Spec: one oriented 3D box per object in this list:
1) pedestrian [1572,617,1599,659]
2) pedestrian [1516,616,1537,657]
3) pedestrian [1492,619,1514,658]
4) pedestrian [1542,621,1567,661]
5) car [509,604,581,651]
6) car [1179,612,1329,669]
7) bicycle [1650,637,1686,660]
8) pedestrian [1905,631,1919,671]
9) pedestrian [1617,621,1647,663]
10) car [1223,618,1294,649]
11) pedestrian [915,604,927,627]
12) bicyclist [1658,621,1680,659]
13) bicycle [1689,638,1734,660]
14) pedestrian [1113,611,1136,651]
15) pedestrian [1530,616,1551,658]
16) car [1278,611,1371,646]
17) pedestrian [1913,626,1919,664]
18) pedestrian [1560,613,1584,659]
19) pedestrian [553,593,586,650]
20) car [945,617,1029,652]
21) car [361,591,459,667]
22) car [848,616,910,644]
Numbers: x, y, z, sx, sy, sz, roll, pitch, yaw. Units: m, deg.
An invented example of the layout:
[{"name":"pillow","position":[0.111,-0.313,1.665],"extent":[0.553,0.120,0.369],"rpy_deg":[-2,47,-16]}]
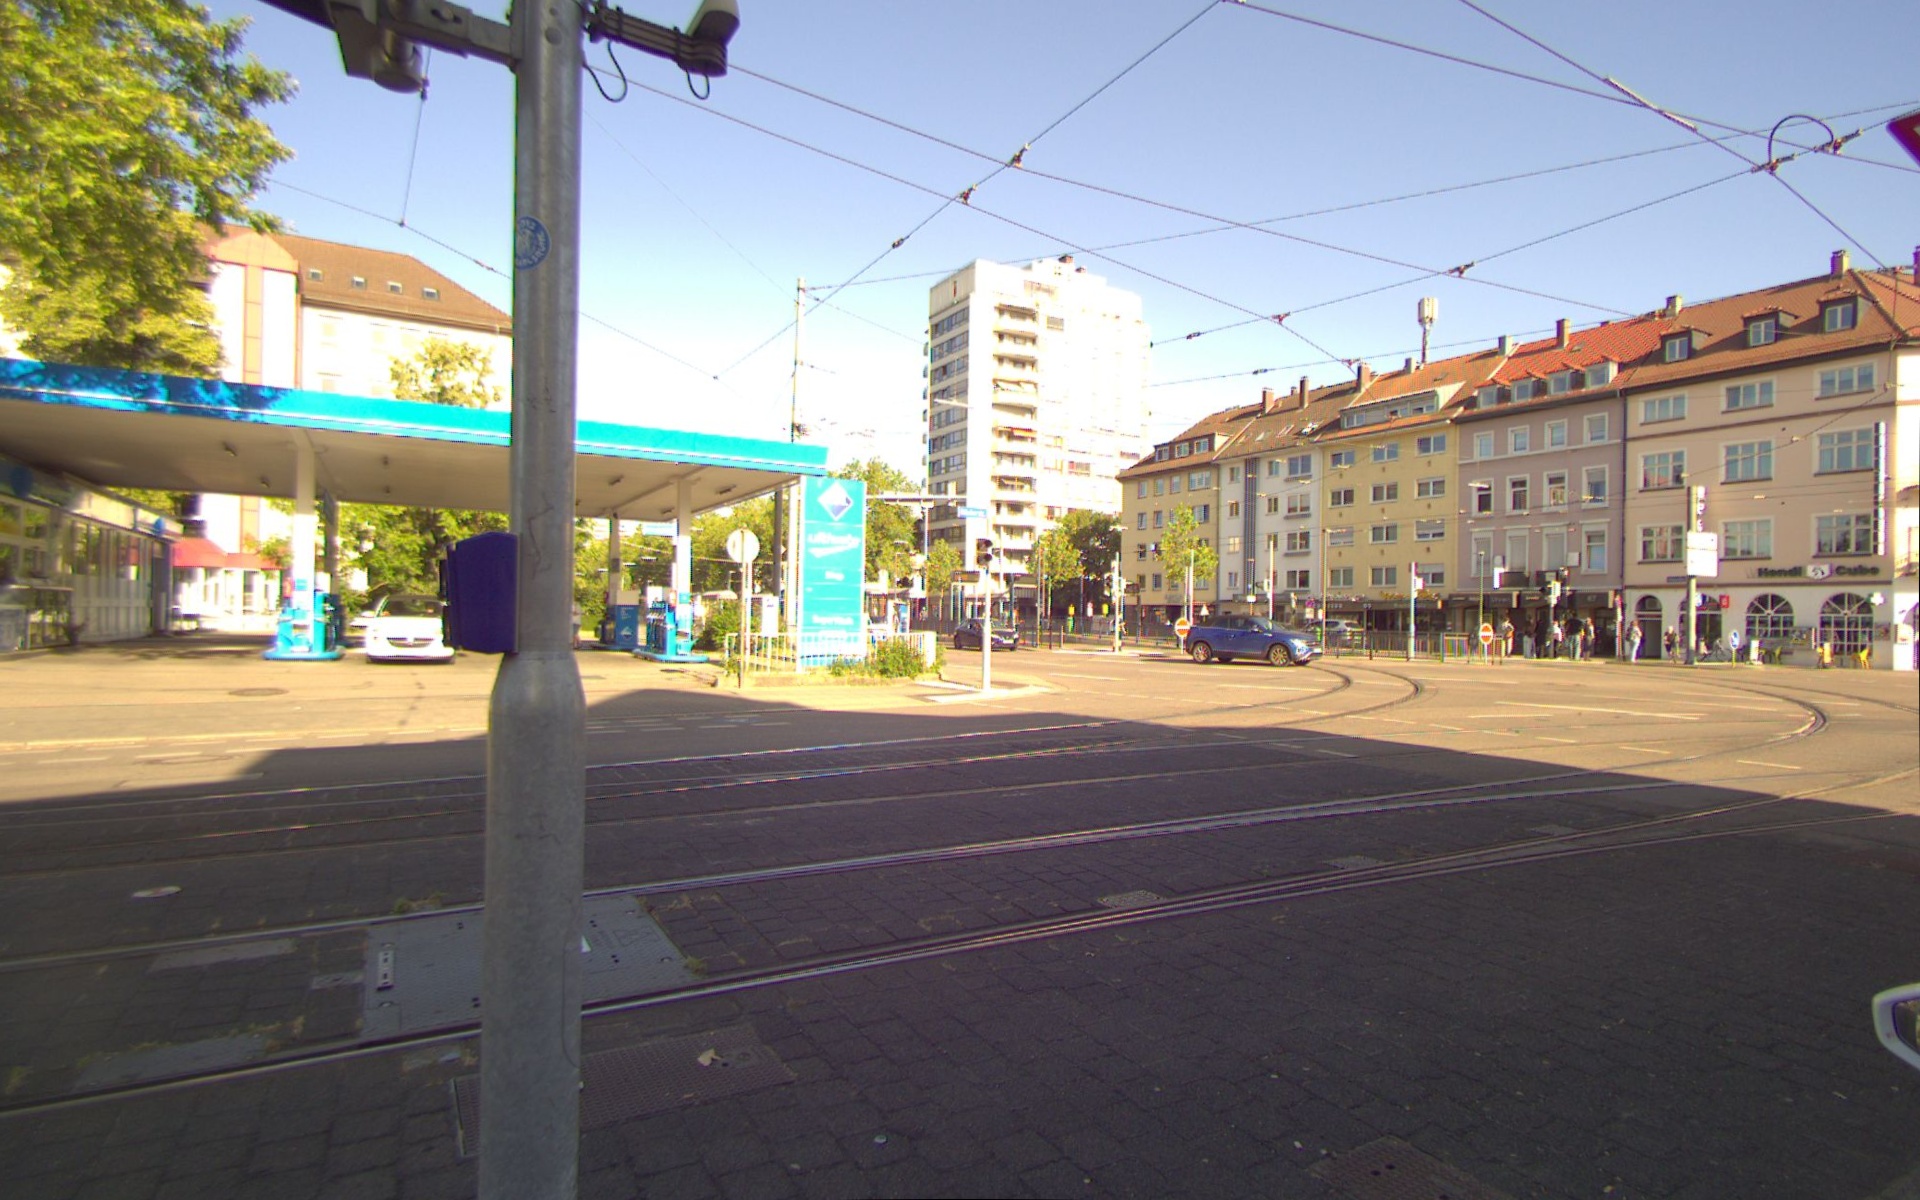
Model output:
[{"name":"pedestrian","position":[25.596,1.544,41.077],"extent":[0.831,1.670,0.579],"rpy_deg":[2,0,-30]},{"name":"pedestrian","position":[23.508,1.514,41.689],"extent":[0.492,1.670,0.520],"rpy_deg":[2,0,-30]},{"name":"pedestrian","position":[23.861,1.693,44.161],"extent":[0.609,1.670,0.581],"rpy_deg":[2,0,-30]},{"name":"pedestrian","position":[25.103,1.731,42.418],"extent":[0.719,1.670,0.570],"rpy_deg":[2,0,-30]},{"name":"car","position":[-13.519,0.860,32.643],"extent":[1.659,1.372,3.559],"rpy_deg":[2,0,-31]},{"name":"car","position":[9.111,1.205,31.325],"extent":[4.140,1.596,1.821],"rpy_deg":[0,-1,43]},{"name":"bicycle","position":[33.941,2.319,48.134],"extent":[1.731,1.044,0.619],"rpy_deg":[2,0,-25]},{"name":"pedestrian","position":[40.906,2.175,42.774],"extent":[0.778,1.664,0.569],"rpy_deg":[2,0,-6]},{"name":"pedestrian","position":[26.494,1.655,39.579],"extent":[0.805,1.615,0.665],"rpy_deg":[2,0,-30]},{"name":"car","position":[18.798,2.103,63.356],"extent":[1.797,1.797,4.208],"rpy_deg":[2,0,-30]},{"name":"pedestrian","position":[-3.552,1.401,91.240],"extent":[0.729,2.127,0.880],"rpy_deg":[2,0,-21]},{"name":"bicyclist","position":[33.970,1.923,48.143],"extent":[0.606,1.814,0.619],"rpy_deg":[2,0,-25]},{"name":"bicycle","position":[37.836,2.475,50.589],"extent":[0.603,0.996,1.693],"rpy_deg":[2,0,-29]},{"name":"pedestrian","position":[6.725,1.261,41.085],"extent":[0.752,1.631,0.612],"rpy_deg":[2,0,-9]},{"name":"pedestrian","position":[23.778,1.520,41.132],"extent":[0.492,1.670,0.520],"rpy_deg":[2,0,-30]},{"name":"car","position":[20.270,1.569,56.048],"extent":[1.818,1.757,4.643],"rpy_deg":[2,0,-35]},{"name":"pedestrian","position":[42.959,2.023,44.732],"extent":[0.577,1.698,0.498],"rpy_deg":[2,0,18]},{"name":"pedestrian","position":[24.737,1.454,40.603],"extent":[0.669,1.847,0.524],"rpy_deg":[2,0,-30]},{"name":"pedestrian","position":[-12.099,0.684,31.120],"extent":[0.838,1.724,0.644],"rpy_deg":[2,-3,-31]},{"name":"car","position":[1.135,1.473,43.911],"extent":[1.811,1.422,3.965],"rpy_deg":[1,-1,-32]},{"name":"car","position":[-12.217,0.591,22.352],"extent":[1.723,1.455,3.905],"rpy_deg":[2,1,-29]},{"name":"car","position":[-4.430,1.613,54.610],"extent":[1.876,1.473,3.977],"rpy_deg":[1,-1,-30]}]
